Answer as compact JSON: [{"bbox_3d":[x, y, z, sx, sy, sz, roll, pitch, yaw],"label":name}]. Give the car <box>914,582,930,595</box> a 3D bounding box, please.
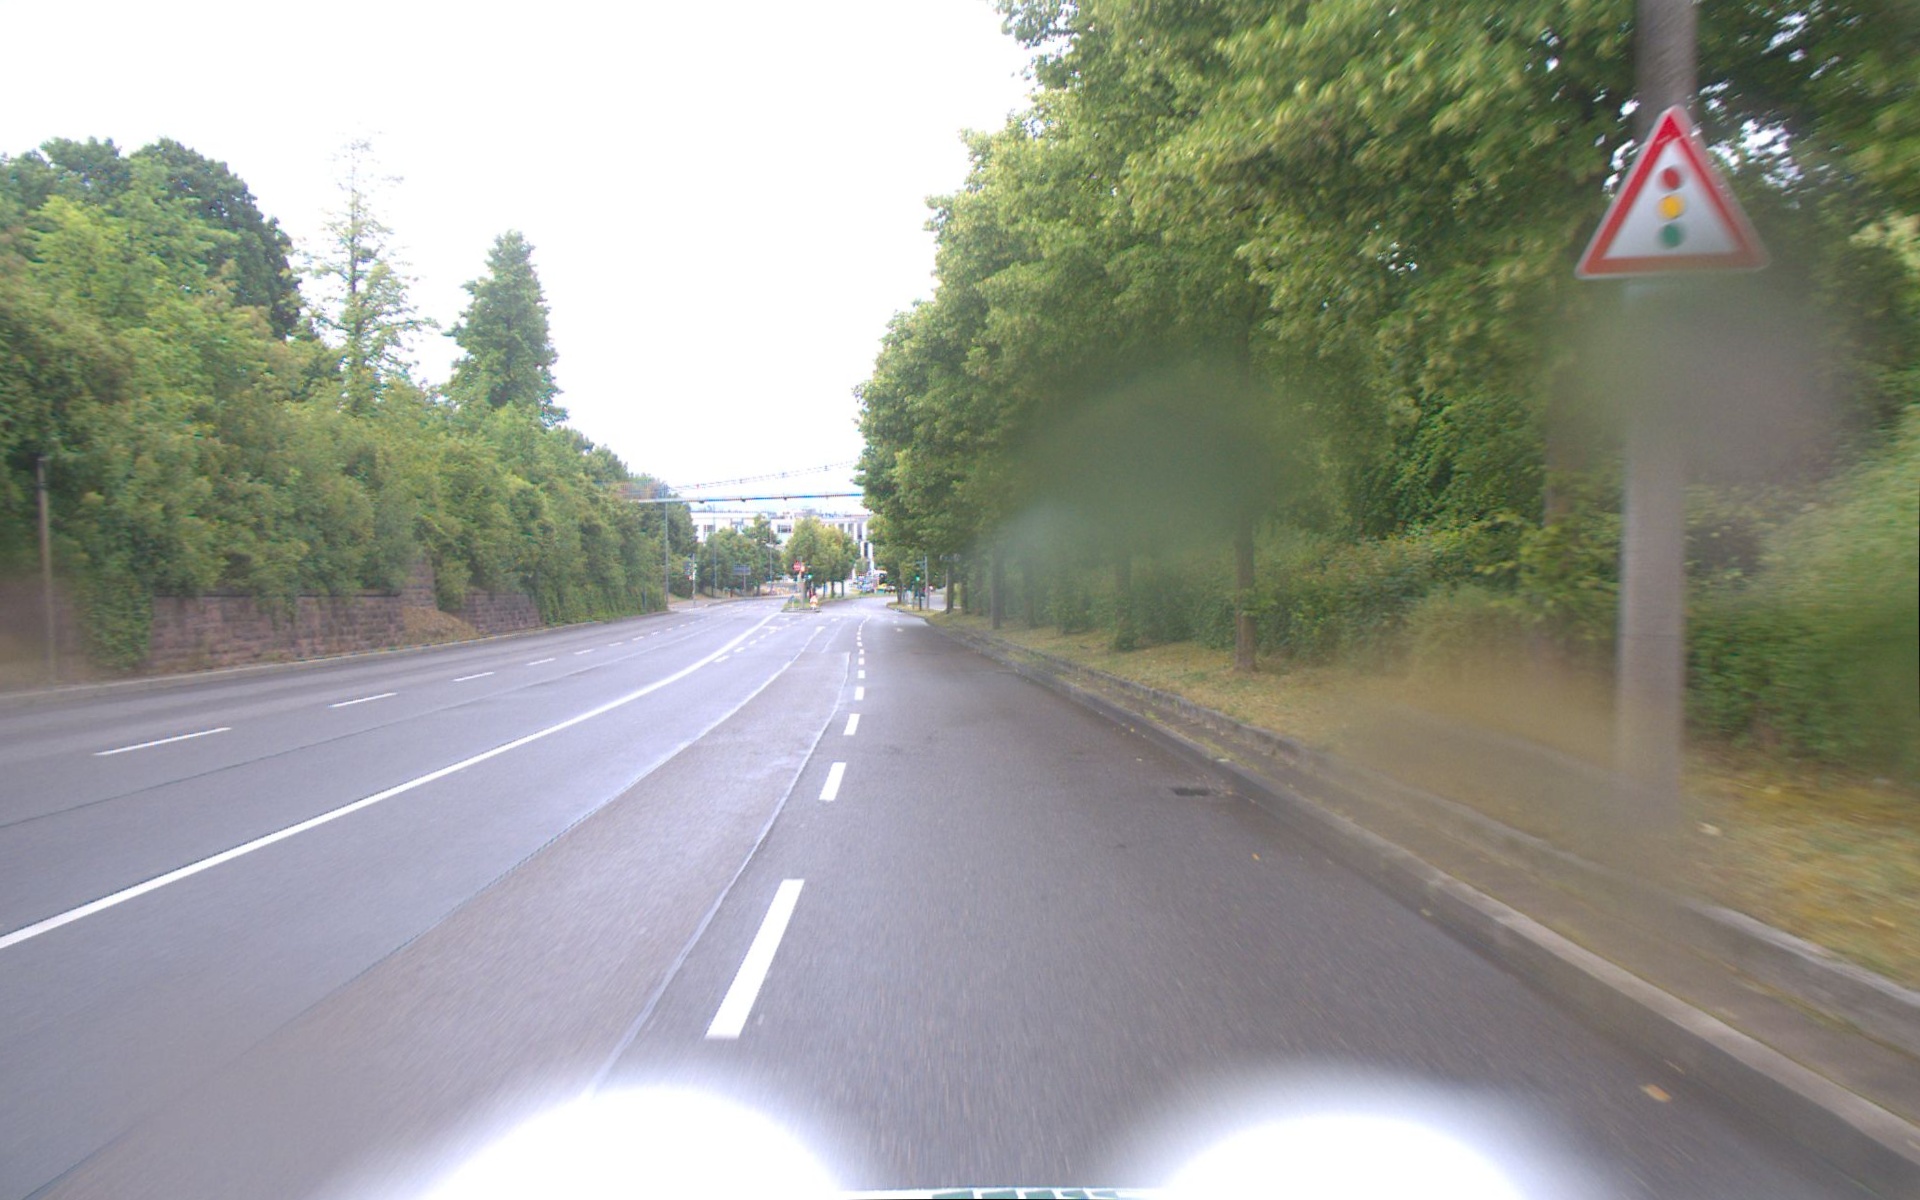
[{"bbox_3d":[-5.383,-1.661,233.133,1.810,1.731,3.794,1,-1,4],"label":"car"}]
